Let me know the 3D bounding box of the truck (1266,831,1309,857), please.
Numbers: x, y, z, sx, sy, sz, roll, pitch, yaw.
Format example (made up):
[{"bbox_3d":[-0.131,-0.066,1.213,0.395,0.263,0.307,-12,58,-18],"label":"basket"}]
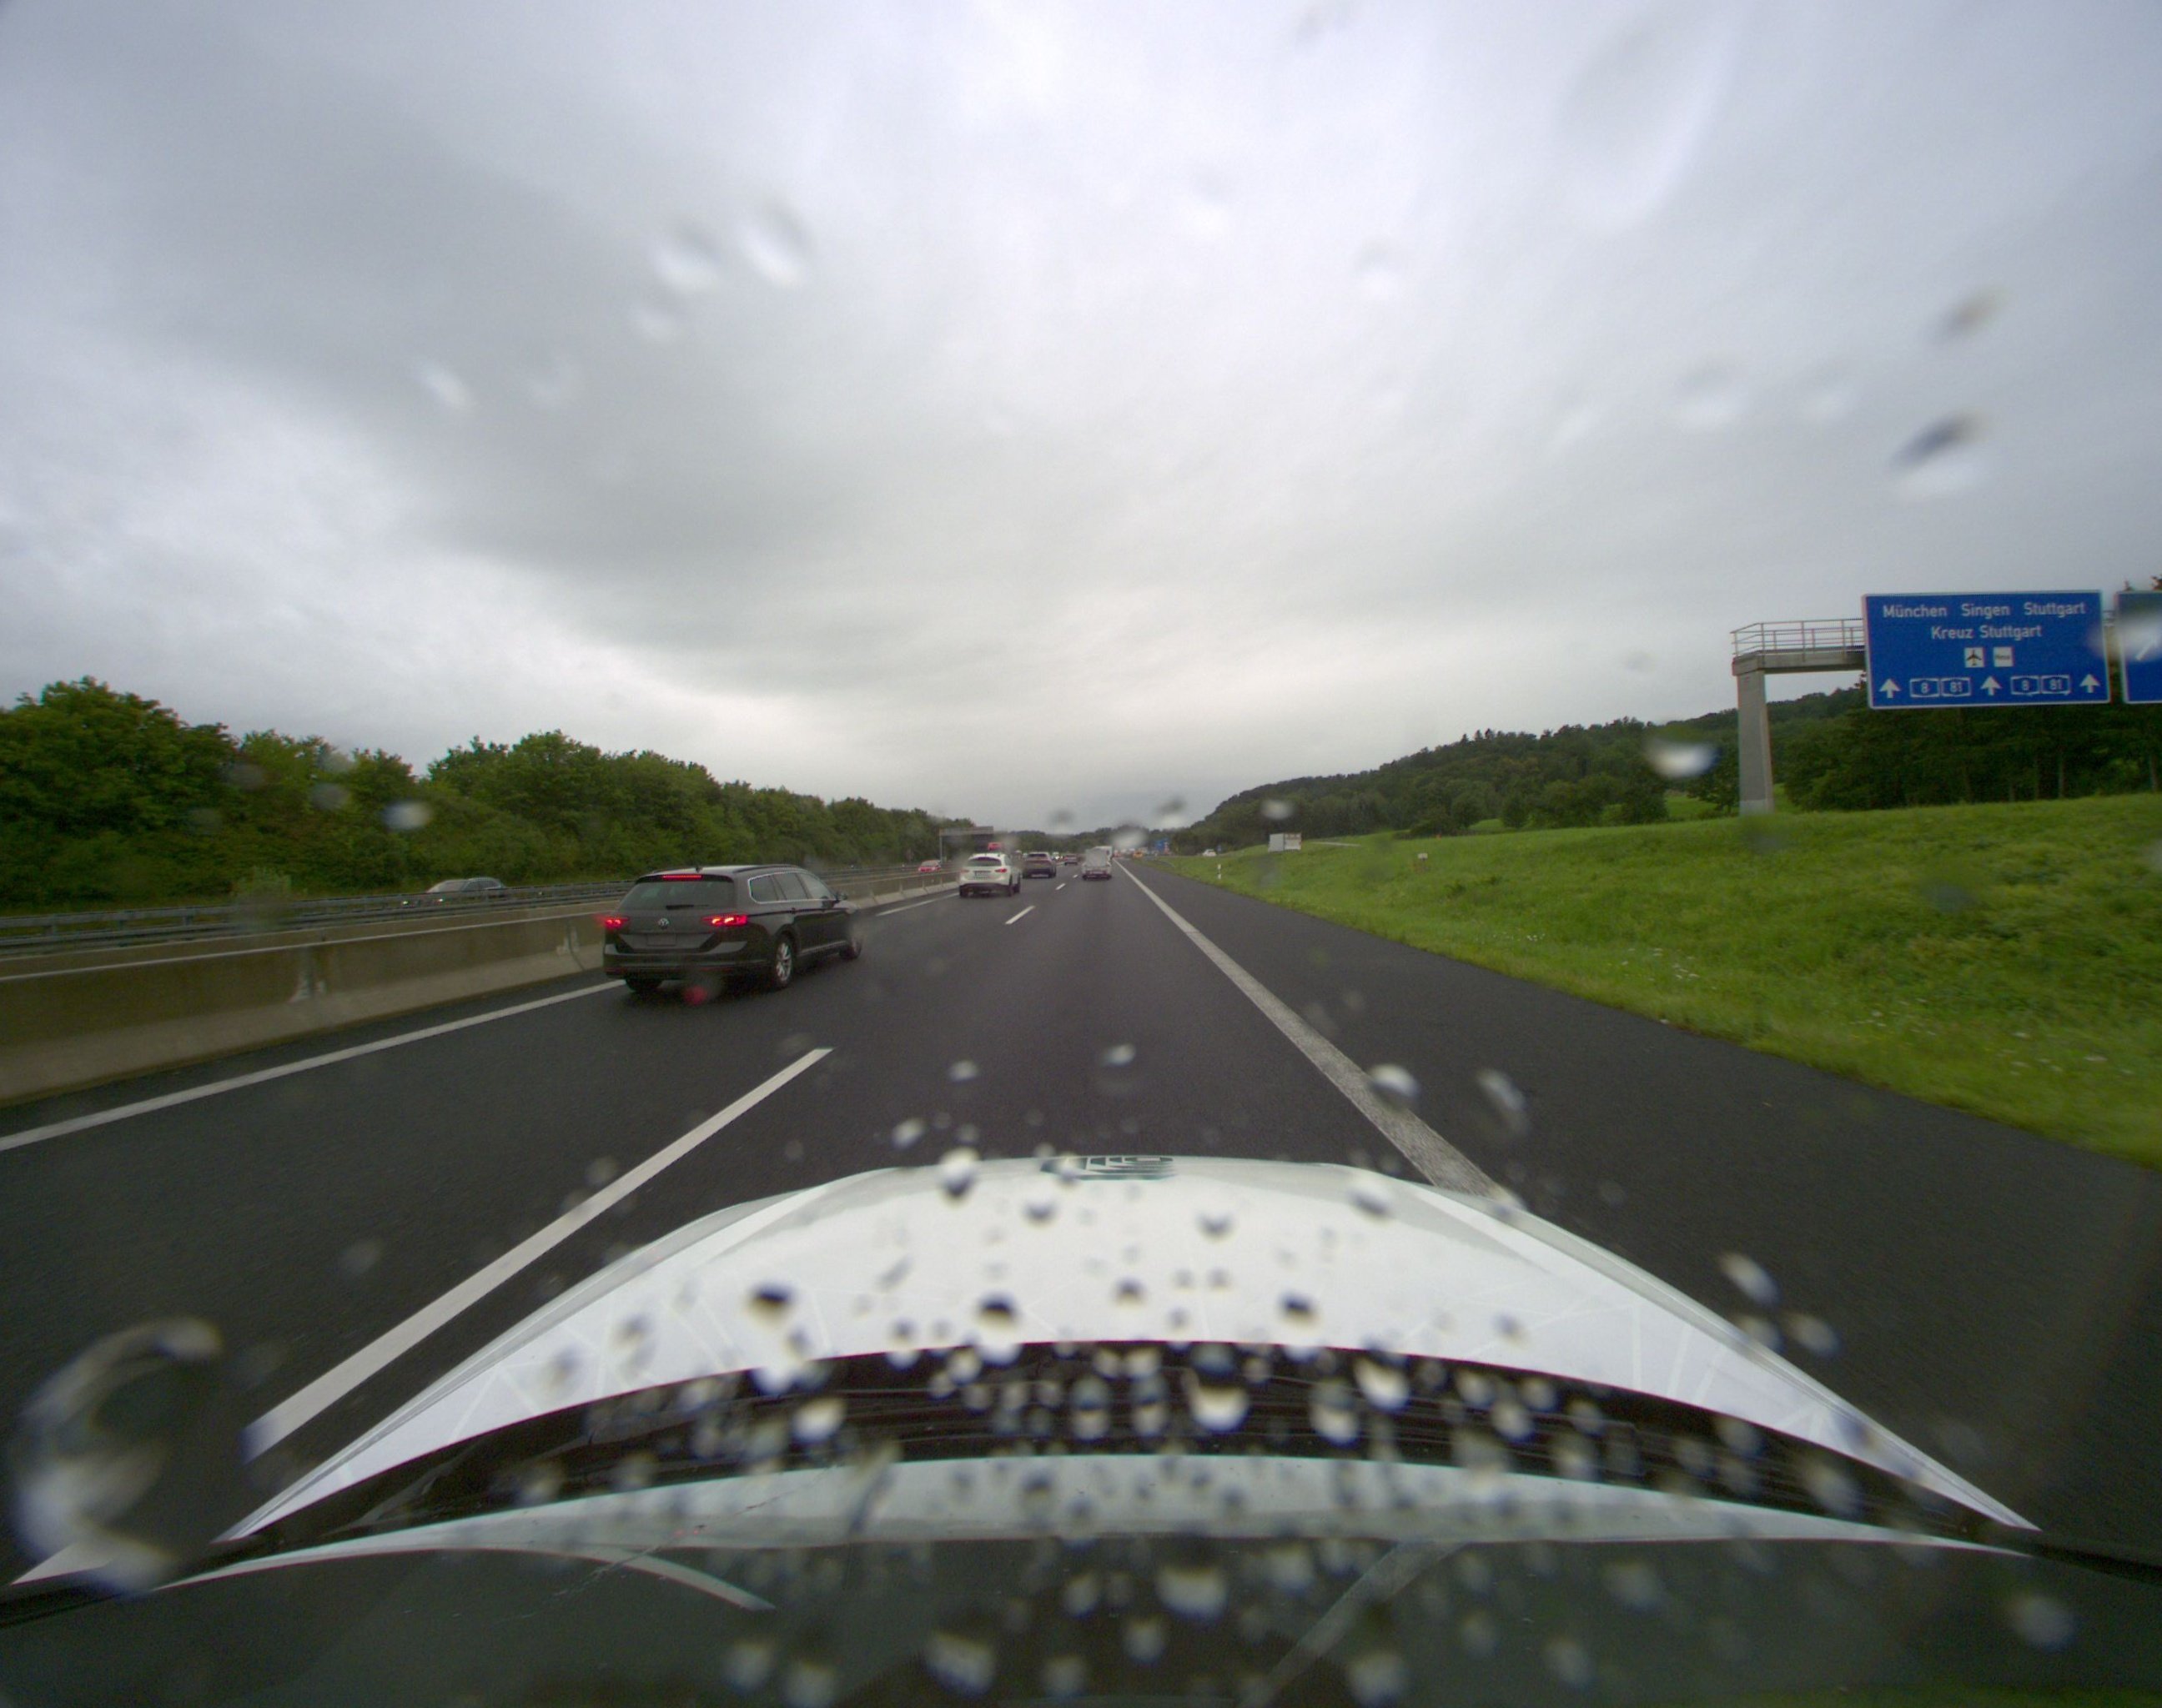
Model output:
[{"bbox_3d":[29.835,-1.414,118.040,3.815,3.659,8.265,0,0,-2],"label":"truck"}]

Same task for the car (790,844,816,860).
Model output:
[{"bbox_3d":[-35.378,-0.238,103.622,1.742,2.013,4.003,-2,0,3],"label":"car"}]

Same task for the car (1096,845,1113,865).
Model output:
[{"bbox_3d":[3.351,0.092,115.095,2.323,2.725,6.542,-1,0,1],"label":"car"}]

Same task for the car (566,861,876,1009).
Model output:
[{"bbox_3d":[-4.301,0.855,10.750,1.780,1.459,4.805,-1,0,2],"label":"car"}]

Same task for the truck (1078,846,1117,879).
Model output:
[{"bbox_3d":[1.013,0.484,50.179,2.234,1.839,6.585,-1,0,1],"label":"truck"}]

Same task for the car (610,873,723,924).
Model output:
[{"bbox_3d":[-15.778,1.643,31.314,1.986,1.662,4.315,-2,0,2],"label":"car"}]

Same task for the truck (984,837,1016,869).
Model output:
[{"bbox_3d":[-12.619,-0.179,127.973,3.386,4.733,10.493,-1,0,3],"label":"truck"}]

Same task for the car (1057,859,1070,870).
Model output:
[{"bbox_3d":[-2.777,1.729,129.790,1.812,1.662,4.019,-2,0,2],"label":"car"}]

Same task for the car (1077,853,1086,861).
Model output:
[{"bbox_3d":[0.108,0.612,160.570,1.639,1.574,4.002,0,0,2],"label":"car"}]

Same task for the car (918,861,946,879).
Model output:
[{"bbox_3d":[-13.882,1.482,76.011,1.718,1.552,4.583,0,0,1],"label":"car"}]

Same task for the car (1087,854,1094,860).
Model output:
[{"bbox_3d":[2.485,0.767,202.379,1.639,1.574,4.002,0,0,2],"label":"car"}]

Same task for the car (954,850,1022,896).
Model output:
[{"bbox_3d":[-3.545,0.687,32.029,2.041,1.670,4.542,-1,0,1],"label":"car"}]

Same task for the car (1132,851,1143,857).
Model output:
[{"bbox_3d":[13.849,0.062,199.783,1.989,1.552,3.995,0,0,-3],"label":"car"}]

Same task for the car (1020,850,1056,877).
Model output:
[{"bbox_3d":[-2.845,0.631,54.826,1.968,1.703,4.803,-1,0,1],"label":"car"}]

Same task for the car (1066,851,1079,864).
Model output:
[{"bbox_3d":[-1.158,0.514,116.170,1.732,1.794,4.001,-1,0,1],"label":"car"}]

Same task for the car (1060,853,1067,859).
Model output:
[{"bbox_3d":[-5.061,0.642,237.627,1.987,1.836,4.679,0,0,0],"label":"car"}]

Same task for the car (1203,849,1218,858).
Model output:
[{"bbox_3d":[24.384,-0.064,153.932,1.989,1.552,3.995,0,0,-3],"label":"car"}]
